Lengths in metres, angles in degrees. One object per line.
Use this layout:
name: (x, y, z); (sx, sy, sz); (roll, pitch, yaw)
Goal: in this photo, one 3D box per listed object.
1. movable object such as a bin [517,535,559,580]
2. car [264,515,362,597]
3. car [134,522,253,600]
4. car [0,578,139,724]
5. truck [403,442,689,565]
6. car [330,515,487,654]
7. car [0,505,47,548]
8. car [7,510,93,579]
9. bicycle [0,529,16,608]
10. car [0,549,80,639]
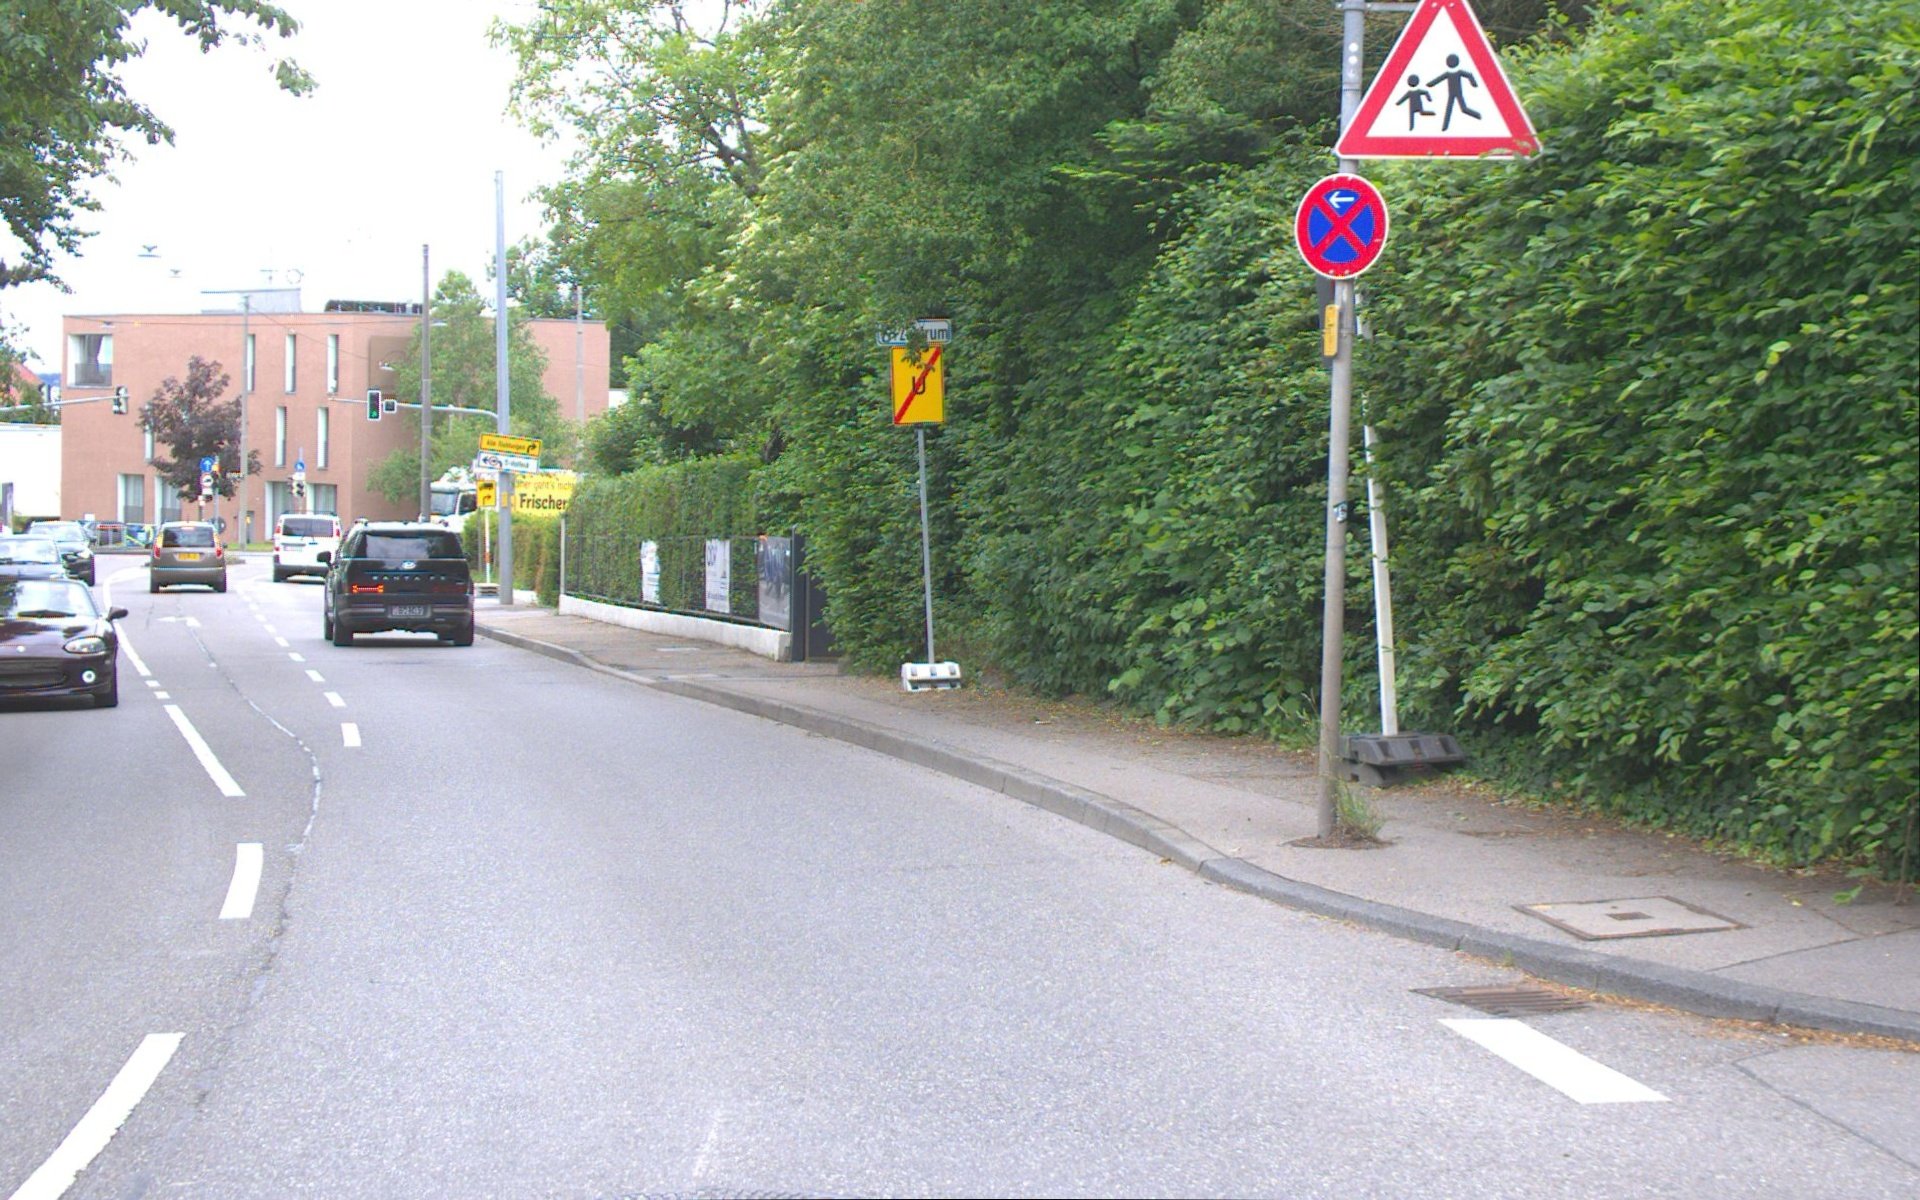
movable object such as a bin: (-10.356, -1.051, 84.463); (0.681, 1.070, 0.714); (2, 0, 40)
car: (-17.928, -1.240, 95.414); (1.961, 2.006, 4.429); (4, 2, -3)
car: (-17.480, -0.908, 78.562); (1.893, 1.700, 4.001); (1, 1, -2)
car: (-8.510, 0.438, 31.476); (1.690, 1.173, 3.788); (-1, 2, -10)
truck: (-16.340, -3.790, 136.734); (11.763, 4.718, 3.134); (-1, 2, -45)
car: (-7.795, -0.234, 48.331); (1.993, 1.875, 4.001); (0, 1, -12)
car: (-44.888, -3.439, 160.325); (3.988, 2.006, 1.999); (-1, 3, -40)
car: (-22.938, -1.427, 86.579); (1.831, 1.625, 4.284); (-1, 2, -18)
bicycle: (-21.594, -0.710, 77.050); (0.758, 1.738, 1.872); (-1, 2, -14)
car: (-16.466, -0.123, 60.316); (1.719, 1.466, 3.532); (-2, 2, -18)
